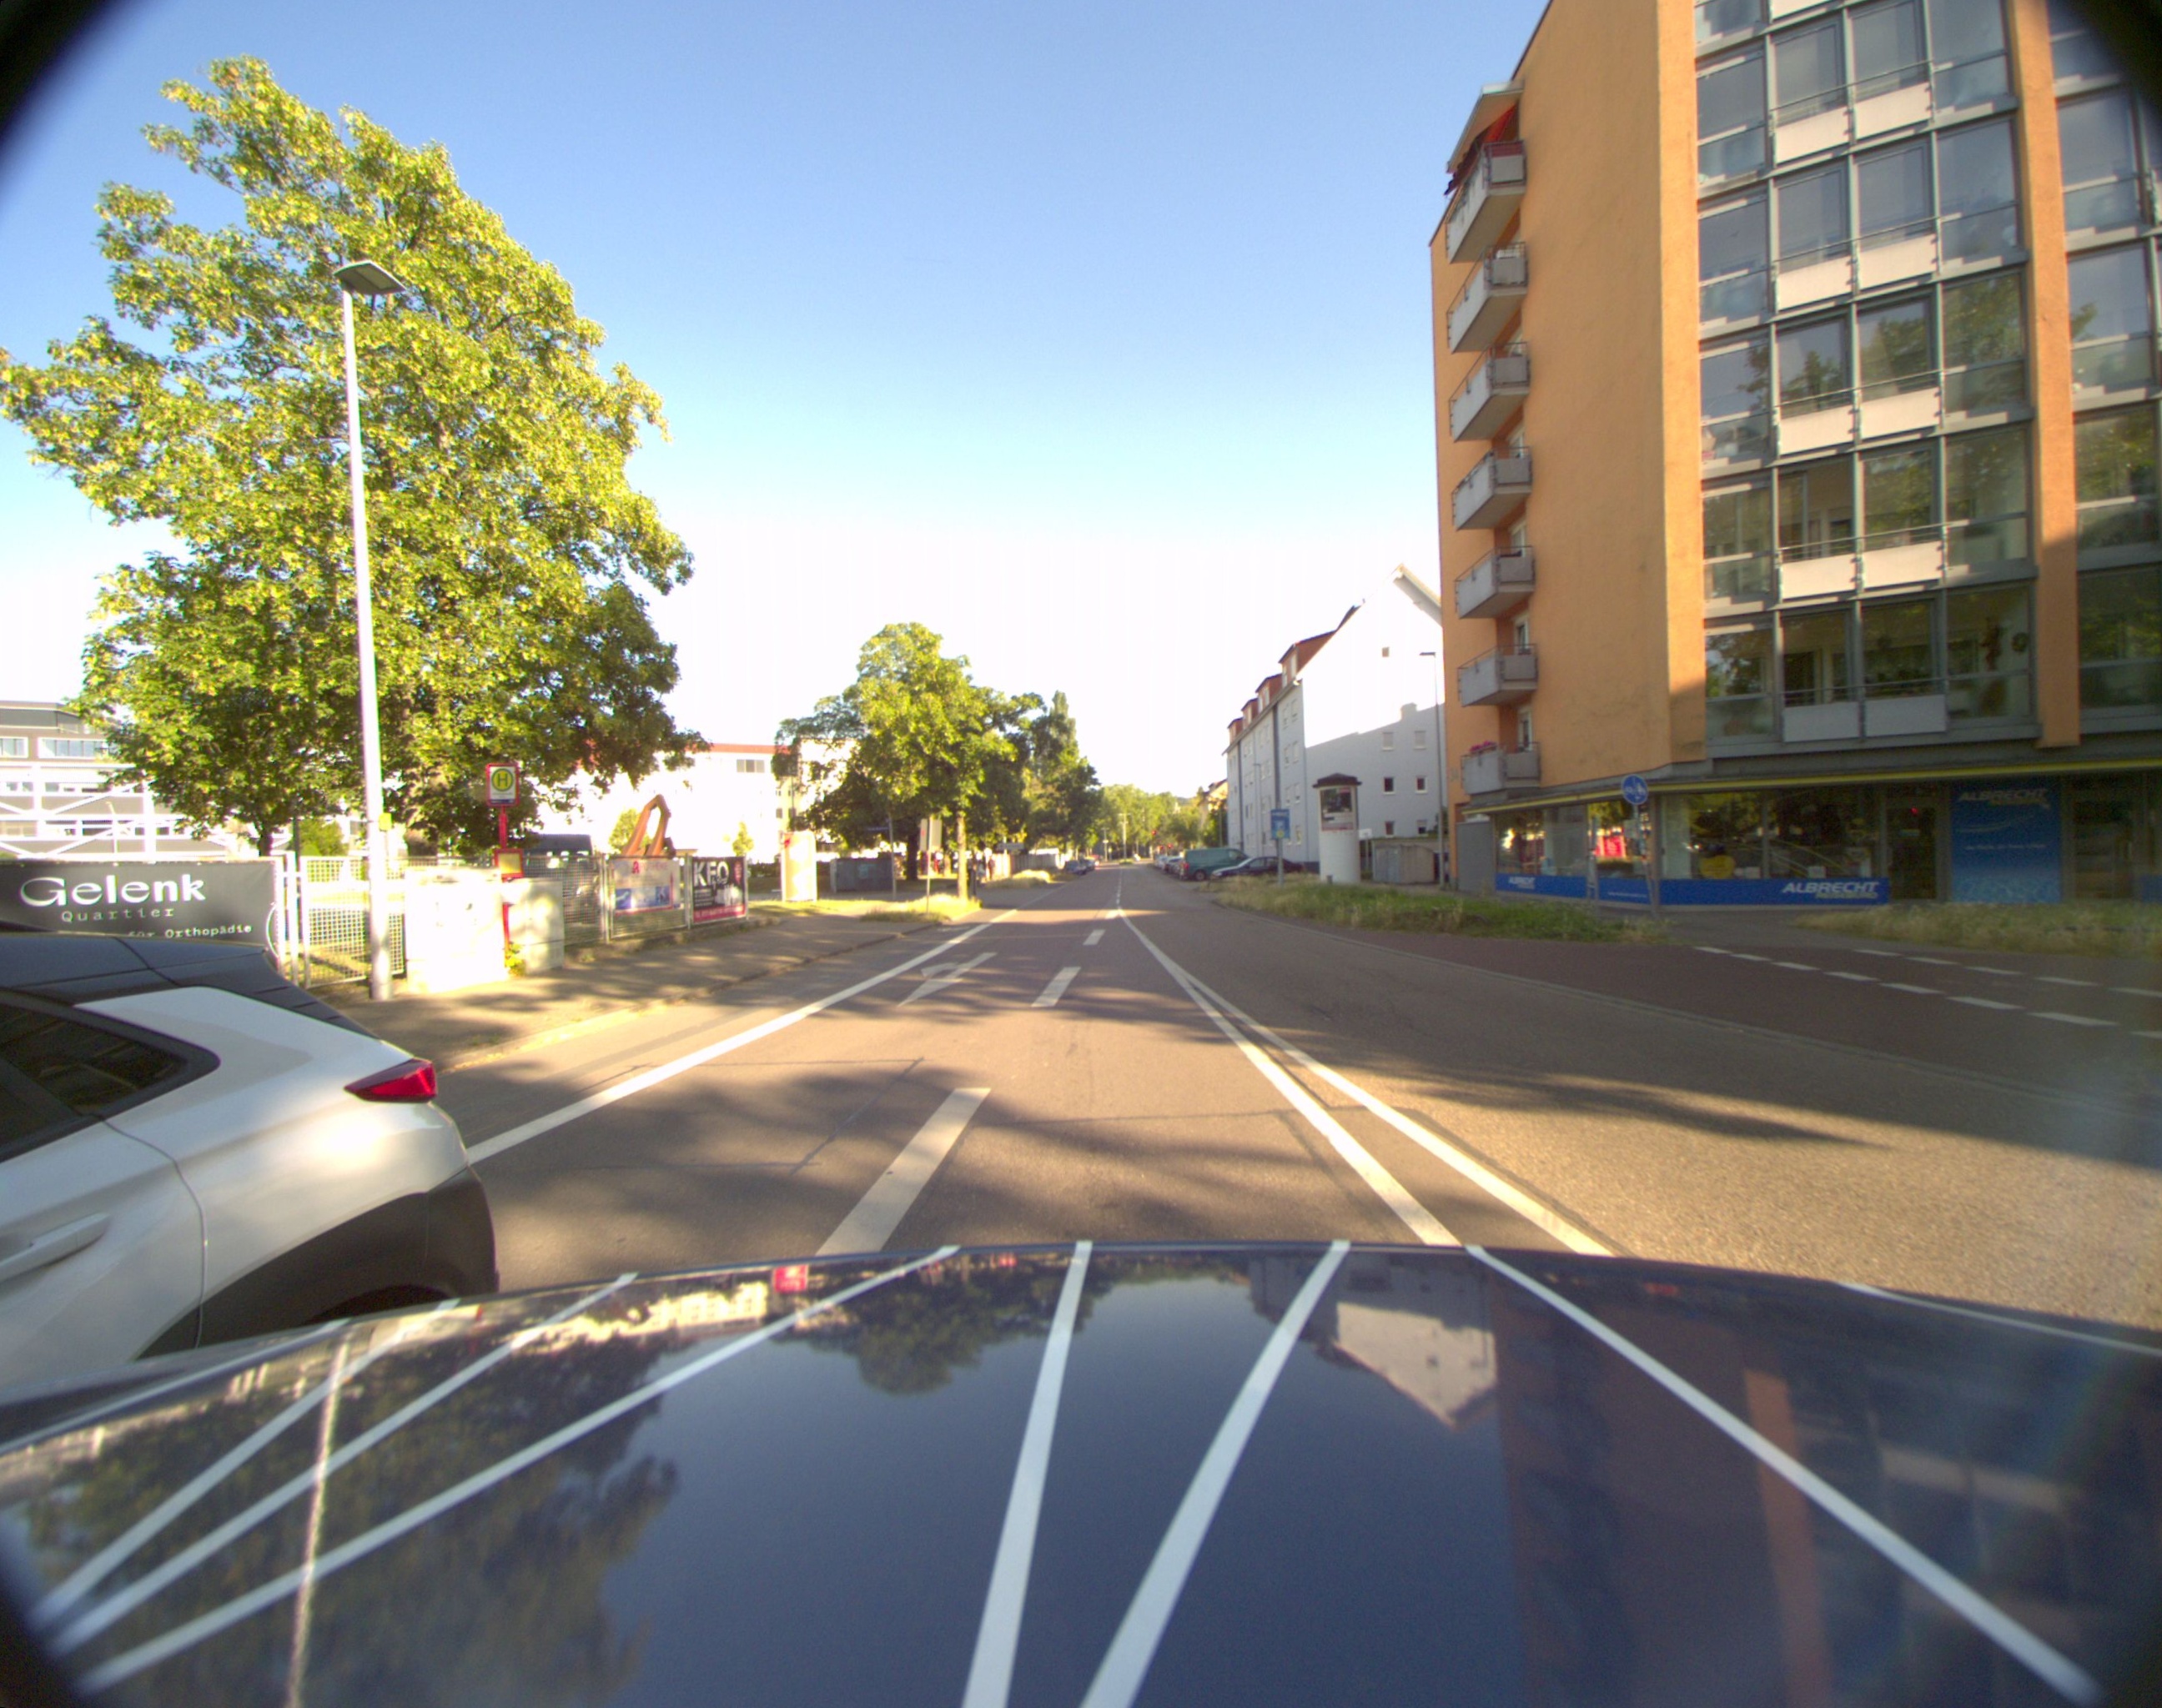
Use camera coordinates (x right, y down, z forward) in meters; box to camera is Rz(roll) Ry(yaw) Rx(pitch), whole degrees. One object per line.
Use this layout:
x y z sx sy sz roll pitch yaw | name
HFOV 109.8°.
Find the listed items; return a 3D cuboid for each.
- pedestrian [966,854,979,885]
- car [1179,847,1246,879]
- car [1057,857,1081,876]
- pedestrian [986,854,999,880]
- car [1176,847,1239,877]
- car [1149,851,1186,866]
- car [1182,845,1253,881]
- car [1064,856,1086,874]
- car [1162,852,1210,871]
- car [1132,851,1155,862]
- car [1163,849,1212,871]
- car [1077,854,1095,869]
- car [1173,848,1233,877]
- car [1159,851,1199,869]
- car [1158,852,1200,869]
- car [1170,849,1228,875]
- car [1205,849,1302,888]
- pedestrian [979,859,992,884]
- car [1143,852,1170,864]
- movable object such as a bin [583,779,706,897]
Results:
-6.229 0.904 43.627 0.609 1.727 0.638 -2 1 -5 | pedestrian
8.356 0.556 48.618 3.995 1.805 2.000 -2 1 5 | car
-1.089 1.129 69.627 1.998 1.521 3.999 -2 1 1 | car
-5.792 0.848 49.893 0.695 1.659 0.639 -2 1 2 | pedestrian
8.500 0.517 51.374 3.995 1.805 2.000 -2 1 5 | car
10.223 0.530 90.220 4.257 1.564 1.867 -2 1 5 | car
8.194 0.529 45.970 3.996 1.936 2.000 -2 1 4 | car
-0.587 1.057 73.975 1.998 1.521 3.999 -2 1 1 | car
9.568 0.682 69.405 4.257 1.564 1.867 -2 1 5 | car
9.691 0.444 118.137 3.538 1.564 1.867 -2 1 5 | car
9.274 0.520 66.518 4.117 1.762 1.757 -2 1 5 | car
0.569 0.841 88.007 1.998 1.521 3.999 -2 1 1 | car
8.571 0.595 53.724 4.059 1.805 1.937 -2 1 5 | car
10.260 0.622 80.097 4.071 1.741 1.899 -2 1 5 | car
10.307 0.653 79.962 4.257 1.564 1.867 -2 1 5 | car
8.748 0.586 56.468 4.071 1.741 1.899 -2 1 5 | car
8.297 0.677 36.905 4.423 1.652 2.001 -2 1 9 | car
-5.429 0.993 43.200 0.609 1.426 0.639 -2 1 1 | pedestrian
10.467 0.572 105.273 3.538 1.564 1.867 -2 1 5 | car
-22.229 -0.750 38.579 3.986 5.447 6.016 -3 1 -42 | movable object such as a bin
